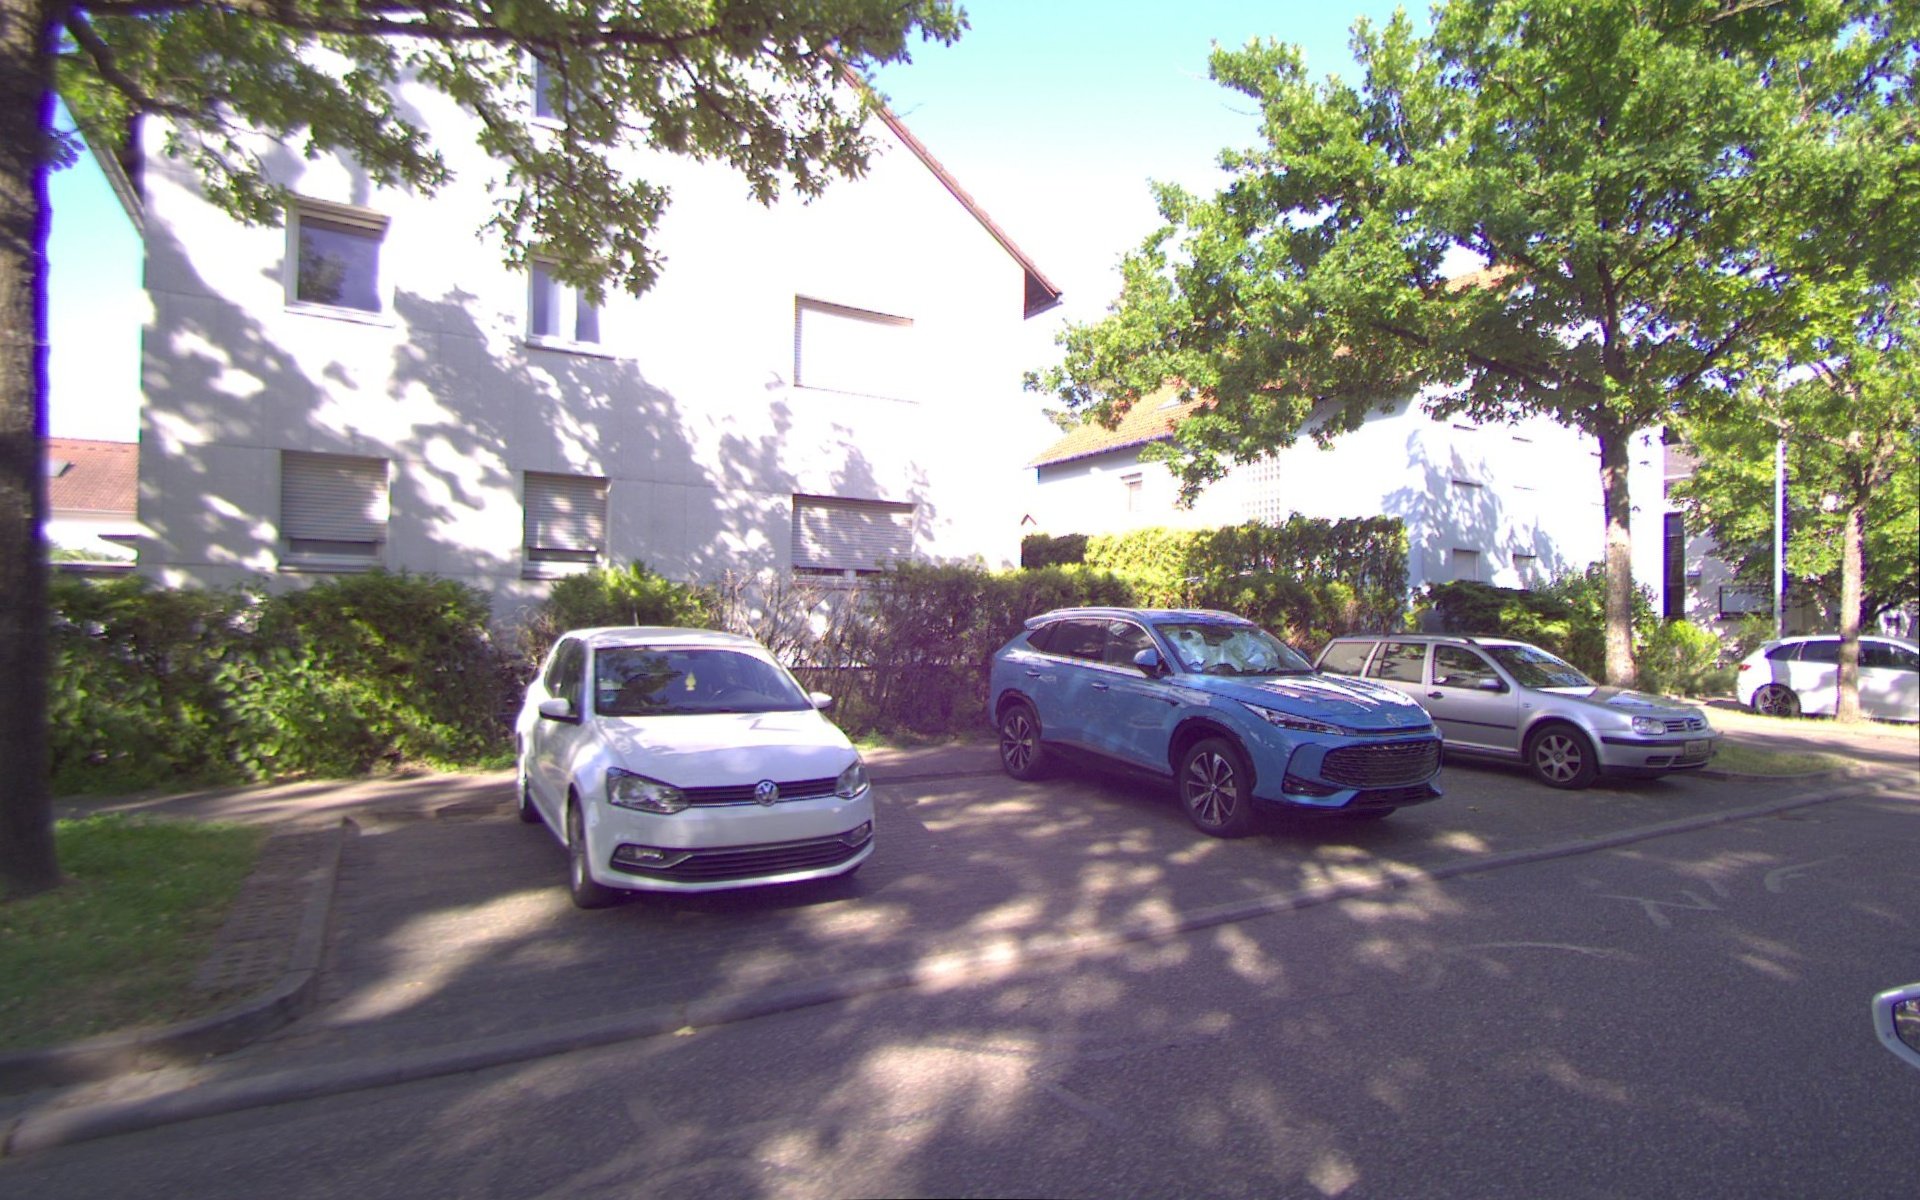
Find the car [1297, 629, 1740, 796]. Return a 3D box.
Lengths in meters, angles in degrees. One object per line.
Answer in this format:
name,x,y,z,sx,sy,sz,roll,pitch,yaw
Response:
car,5.998,1.108,11.354,1.627,1.511,4.164,2,-3,-29

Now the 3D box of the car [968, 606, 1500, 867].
car,2.026,0.918,8.859,1.914,1.652,4.503,2,-1,-29

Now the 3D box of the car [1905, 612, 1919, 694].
car,24.935,1.271,22.810,1.996,1.942,4.752,1,-1,-32

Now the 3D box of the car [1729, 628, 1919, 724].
car,16.168,1.290,17.342,1.748,1.498,4.255,1,0,-30

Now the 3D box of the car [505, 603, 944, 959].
car,-1.862,0.909,6.775,1.835,1.616,3.969,2,-3,-29
